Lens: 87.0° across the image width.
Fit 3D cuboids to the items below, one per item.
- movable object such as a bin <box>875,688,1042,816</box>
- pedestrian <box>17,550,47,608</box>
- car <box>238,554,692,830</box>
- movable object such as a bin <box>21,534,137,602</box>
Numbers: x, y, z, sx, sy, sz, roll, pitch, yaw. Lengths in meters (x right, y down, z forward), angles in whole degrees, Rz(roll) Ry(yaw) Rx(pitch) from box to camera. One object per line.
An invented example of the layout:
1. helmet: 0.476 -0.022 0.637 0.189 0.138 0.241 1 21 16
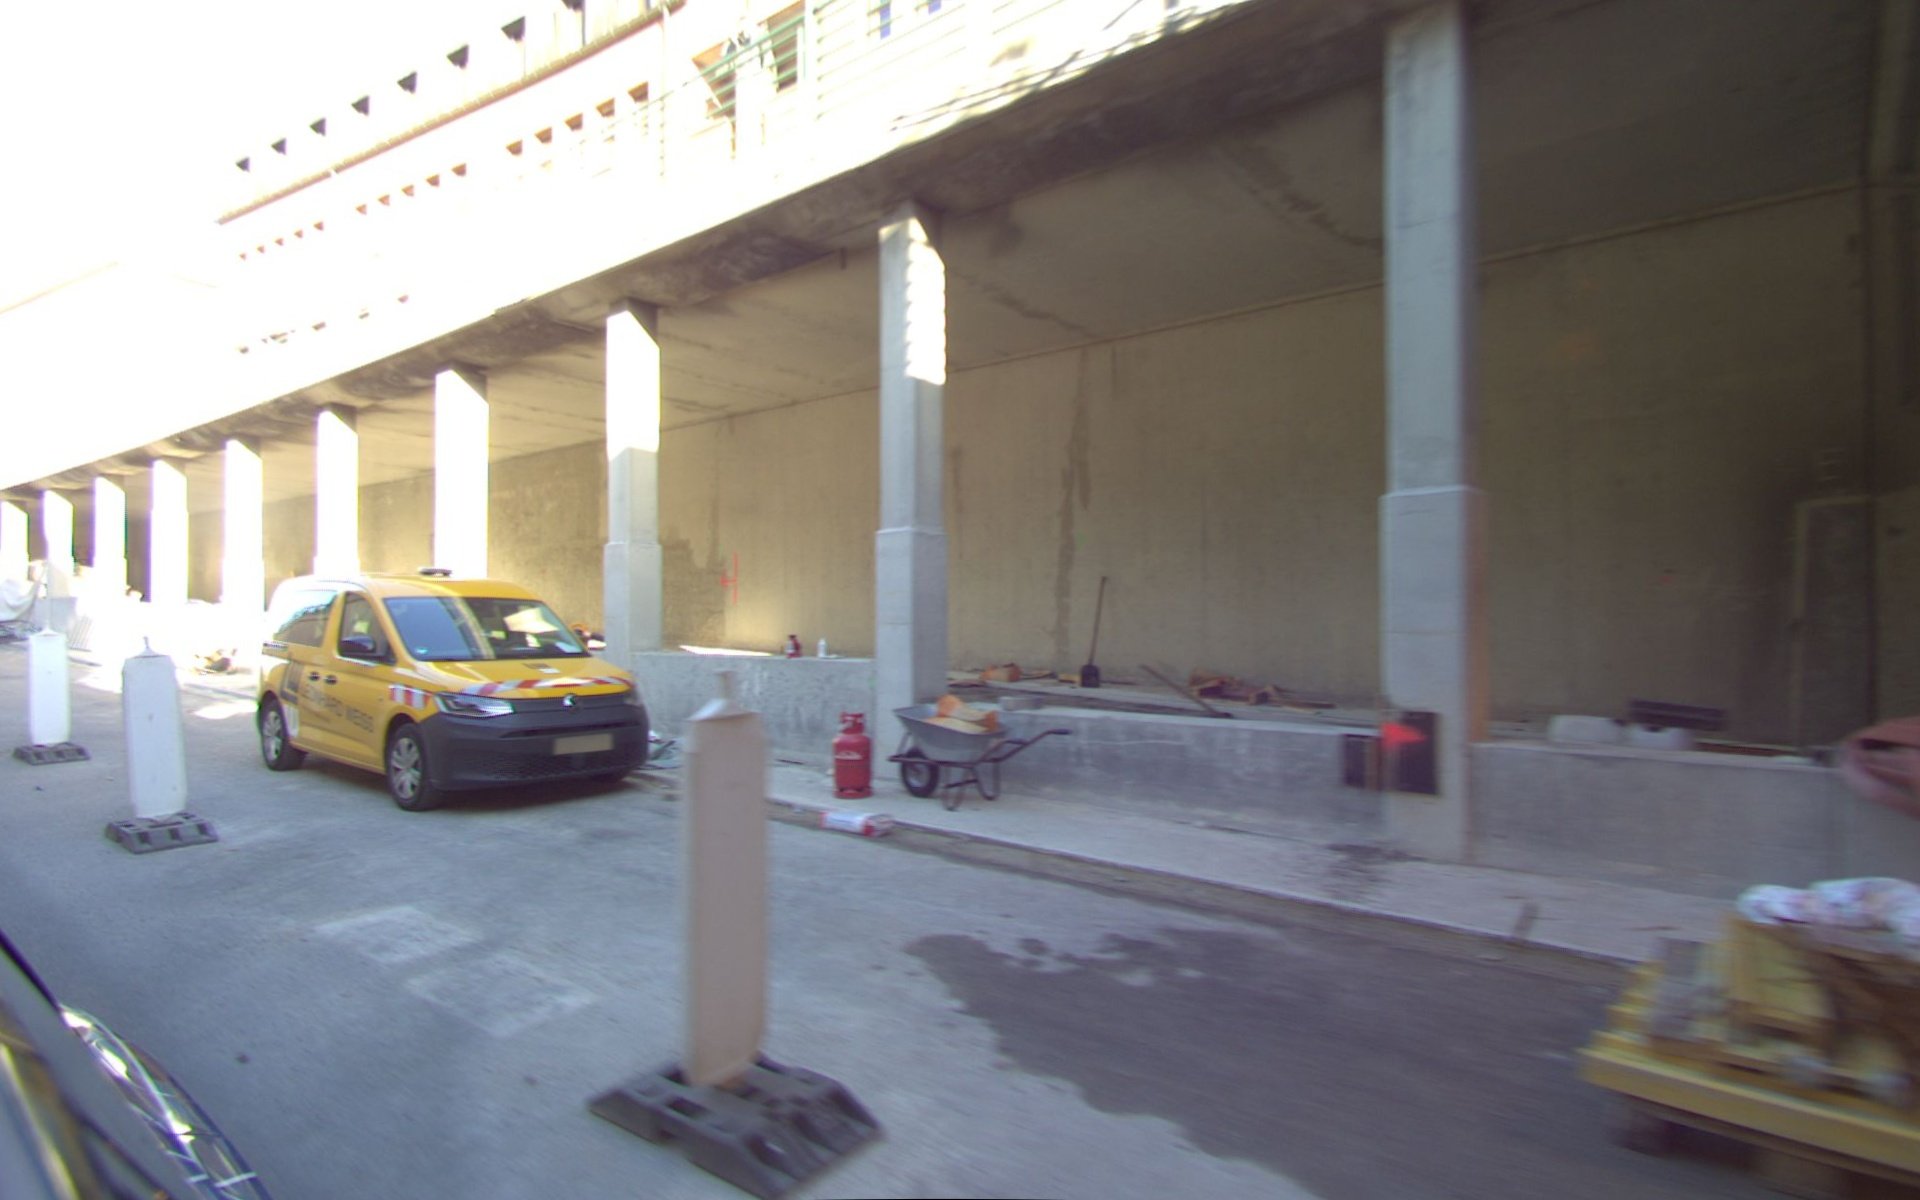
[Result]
1. movable object such as a bin: -0.017 1.057 7.294 1.030 0.747 0.645 1 0 39
2. pedestrian: -29.954 -0.678 32.655 0.624 1.818 0.650 3 2 41
3. car: -4.398 0.607 8.678 4.429 1.789 1.830 0 0 39
4. movable object such as a bin: -27.444 -0.982 31.517 3.148 2.002 1.872 2 1 31
